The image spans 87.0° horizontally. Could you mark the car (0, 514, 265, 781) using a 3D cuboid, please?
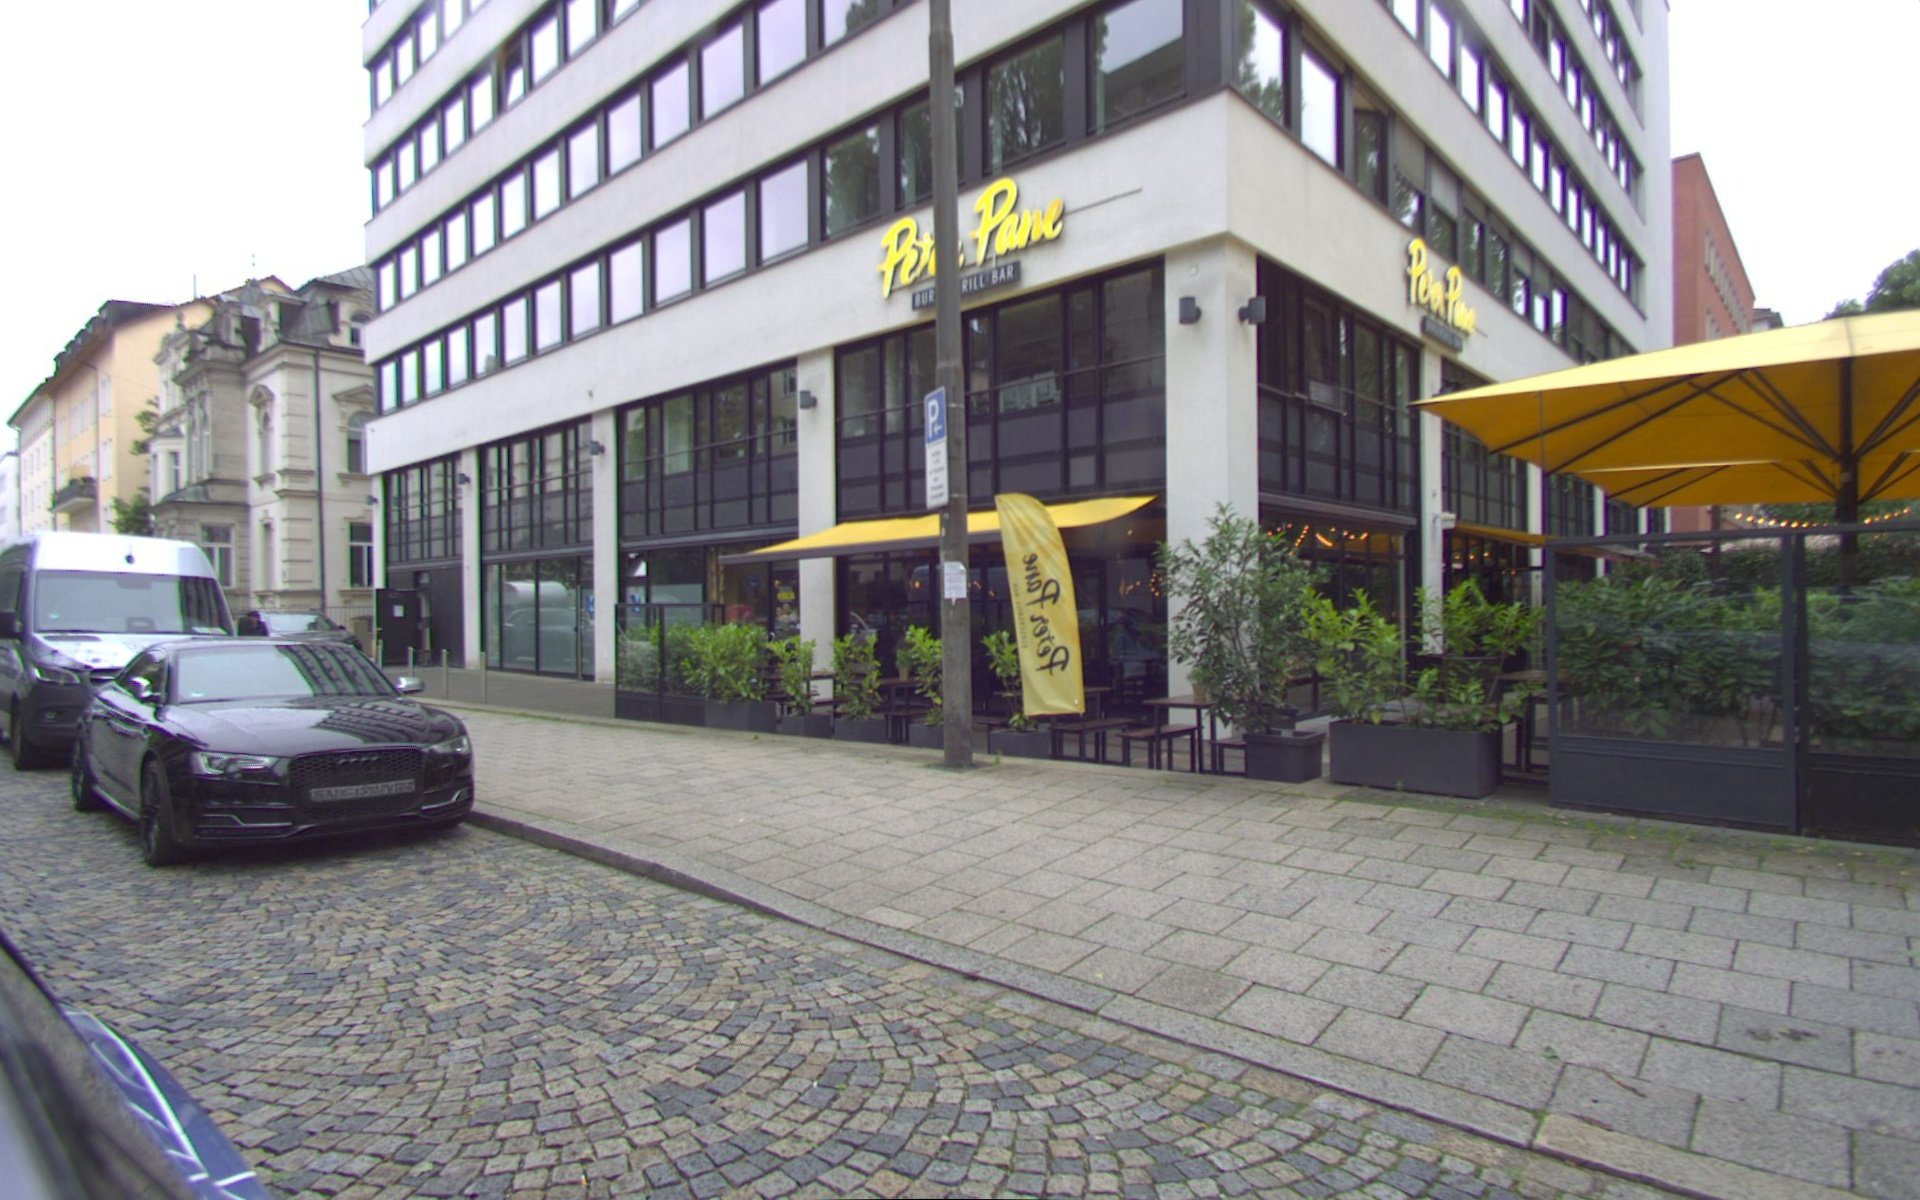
[{"bbox_3d":[-10.460,0.496,12.204,5.846,2.510,2.038,-1,-1,41],"label":"car"}]

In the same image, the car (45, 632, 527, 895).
[{"bbox_3d":[-5.152,0.941,7.520,4.114,1.340,1.973,-1,-1,41],"label":"car"}]

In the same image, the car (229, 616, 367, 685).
[{"bbox_3d":[-16.478,1.203,25.111,4.169,1.544,1.887,-2,-1,42],"label":"car"}]

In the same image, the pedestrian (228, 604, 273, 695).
[{"bbox_3d":[-14.063,0.976,20.064,0.650,1.761,0.568,-1,-1,38],"label":"pedestrian"}]

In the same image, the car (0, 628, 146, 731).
[{"bbox_3d":[-14.801,1.203,16.457,4.001,1.441,1.971,-2,-1,44],"label":"car"}]

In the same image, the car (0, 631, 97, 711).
[{"bbox_3d":[-18.343,1.312,19.579,3.998,1.399,1.973,-2,-1,41],"label":"car"}]
